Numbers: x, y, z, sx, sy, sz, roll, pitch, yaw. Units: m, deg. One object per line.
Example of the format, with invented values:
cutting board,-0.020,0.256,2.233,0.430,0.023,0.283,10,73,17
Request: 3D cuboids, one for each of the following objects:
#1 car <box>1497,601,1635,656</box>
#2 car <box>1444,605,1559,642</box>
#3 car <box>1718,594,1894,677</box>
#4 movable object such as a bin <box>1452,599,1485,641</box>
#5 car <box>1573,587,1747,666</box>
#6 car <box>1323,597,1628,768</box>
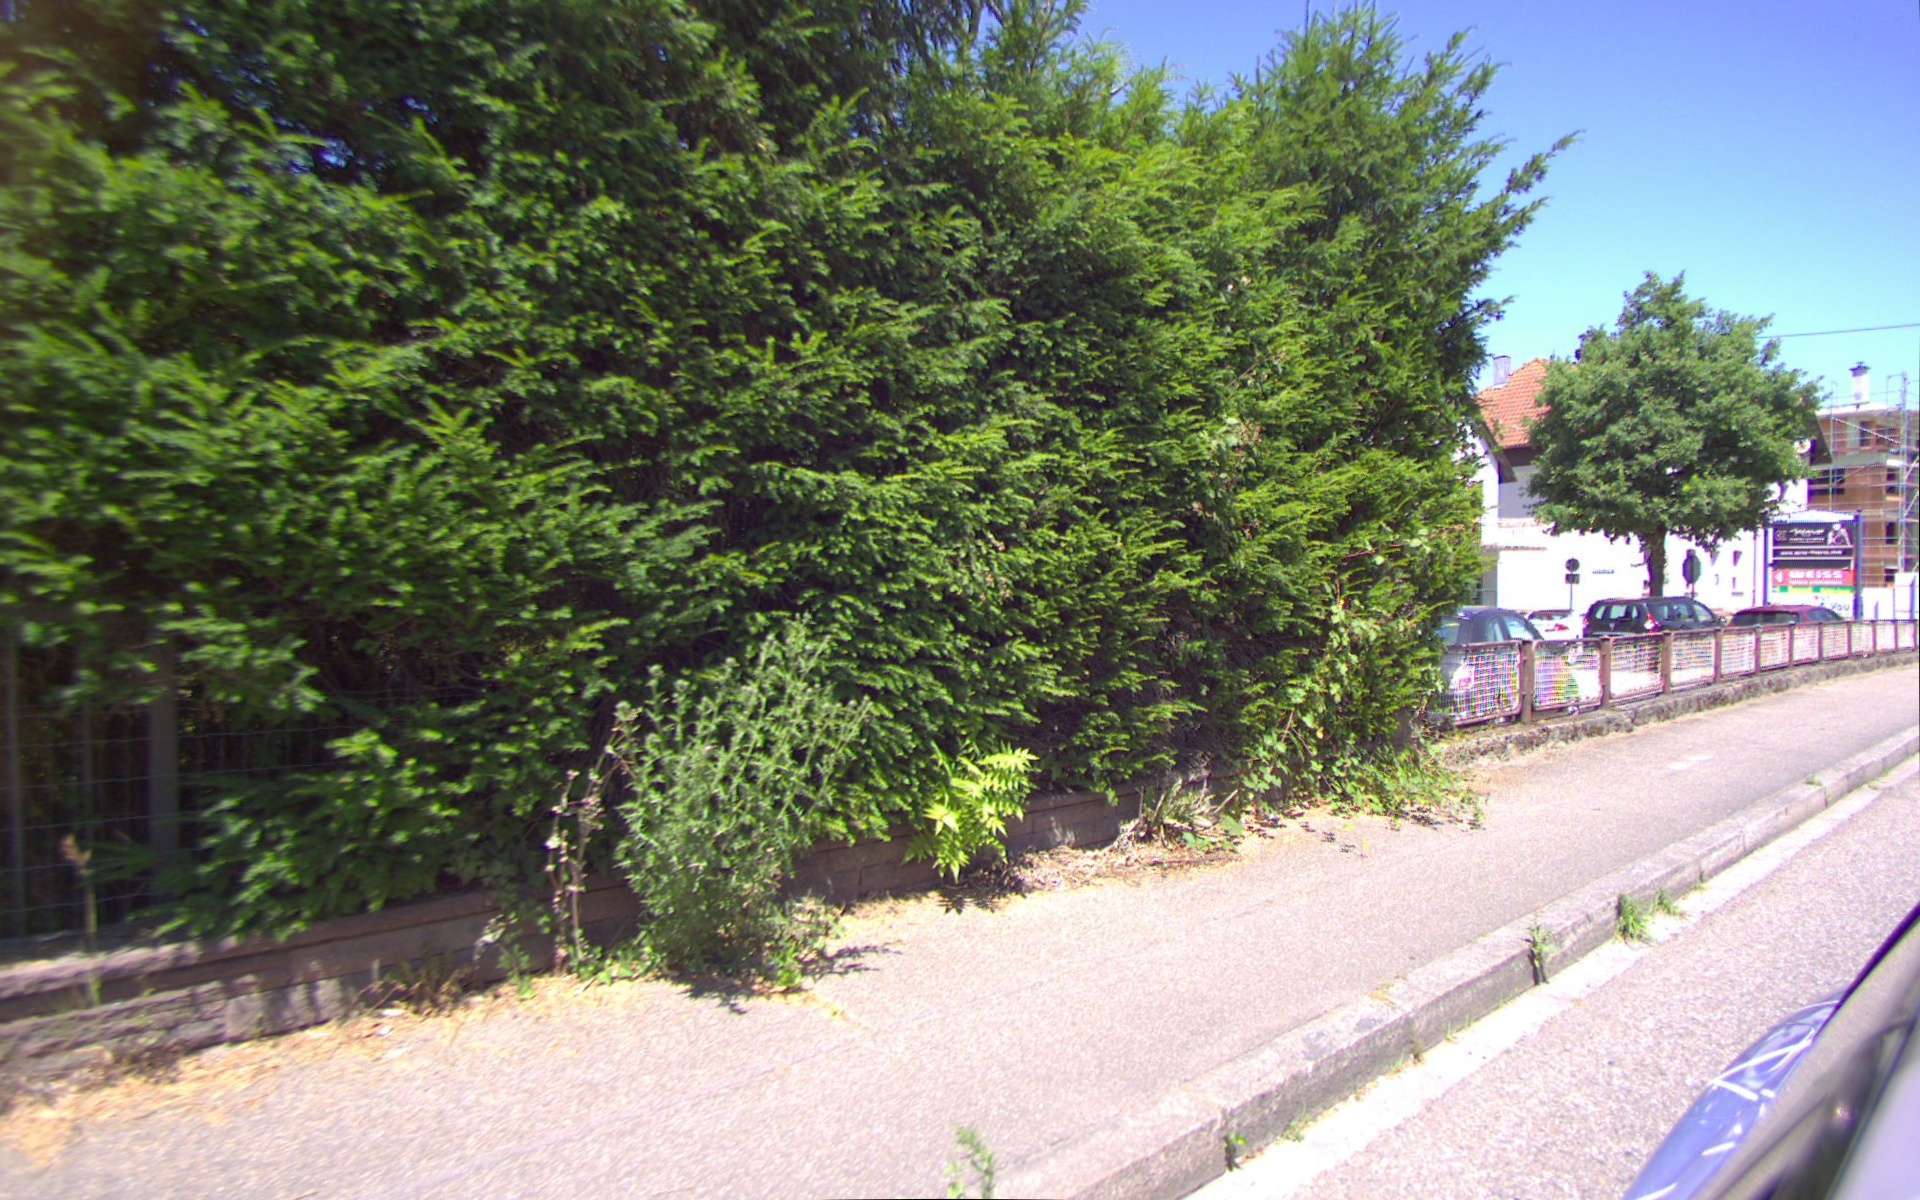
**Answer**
car,15.447,0.683,25.794,3.318,1.286,1.718,-1,1,-32
car,22.759,0.968,42.668,1.780,1.462,3.899,0,-1,-30
car,17.897,0.682,21.380,3.763,1.542,1.719,-1,1,-31
movable object such as a bin,13.196,0.508,26.262,0.627,1.060,0.492,0,1,-31
car,16.312,0.559,23.535,4.372,1.686,1.718,-1,-1,-32
car,5.537,0.759,10.720,3.495,1.478,1.633,-1,-2,-41
